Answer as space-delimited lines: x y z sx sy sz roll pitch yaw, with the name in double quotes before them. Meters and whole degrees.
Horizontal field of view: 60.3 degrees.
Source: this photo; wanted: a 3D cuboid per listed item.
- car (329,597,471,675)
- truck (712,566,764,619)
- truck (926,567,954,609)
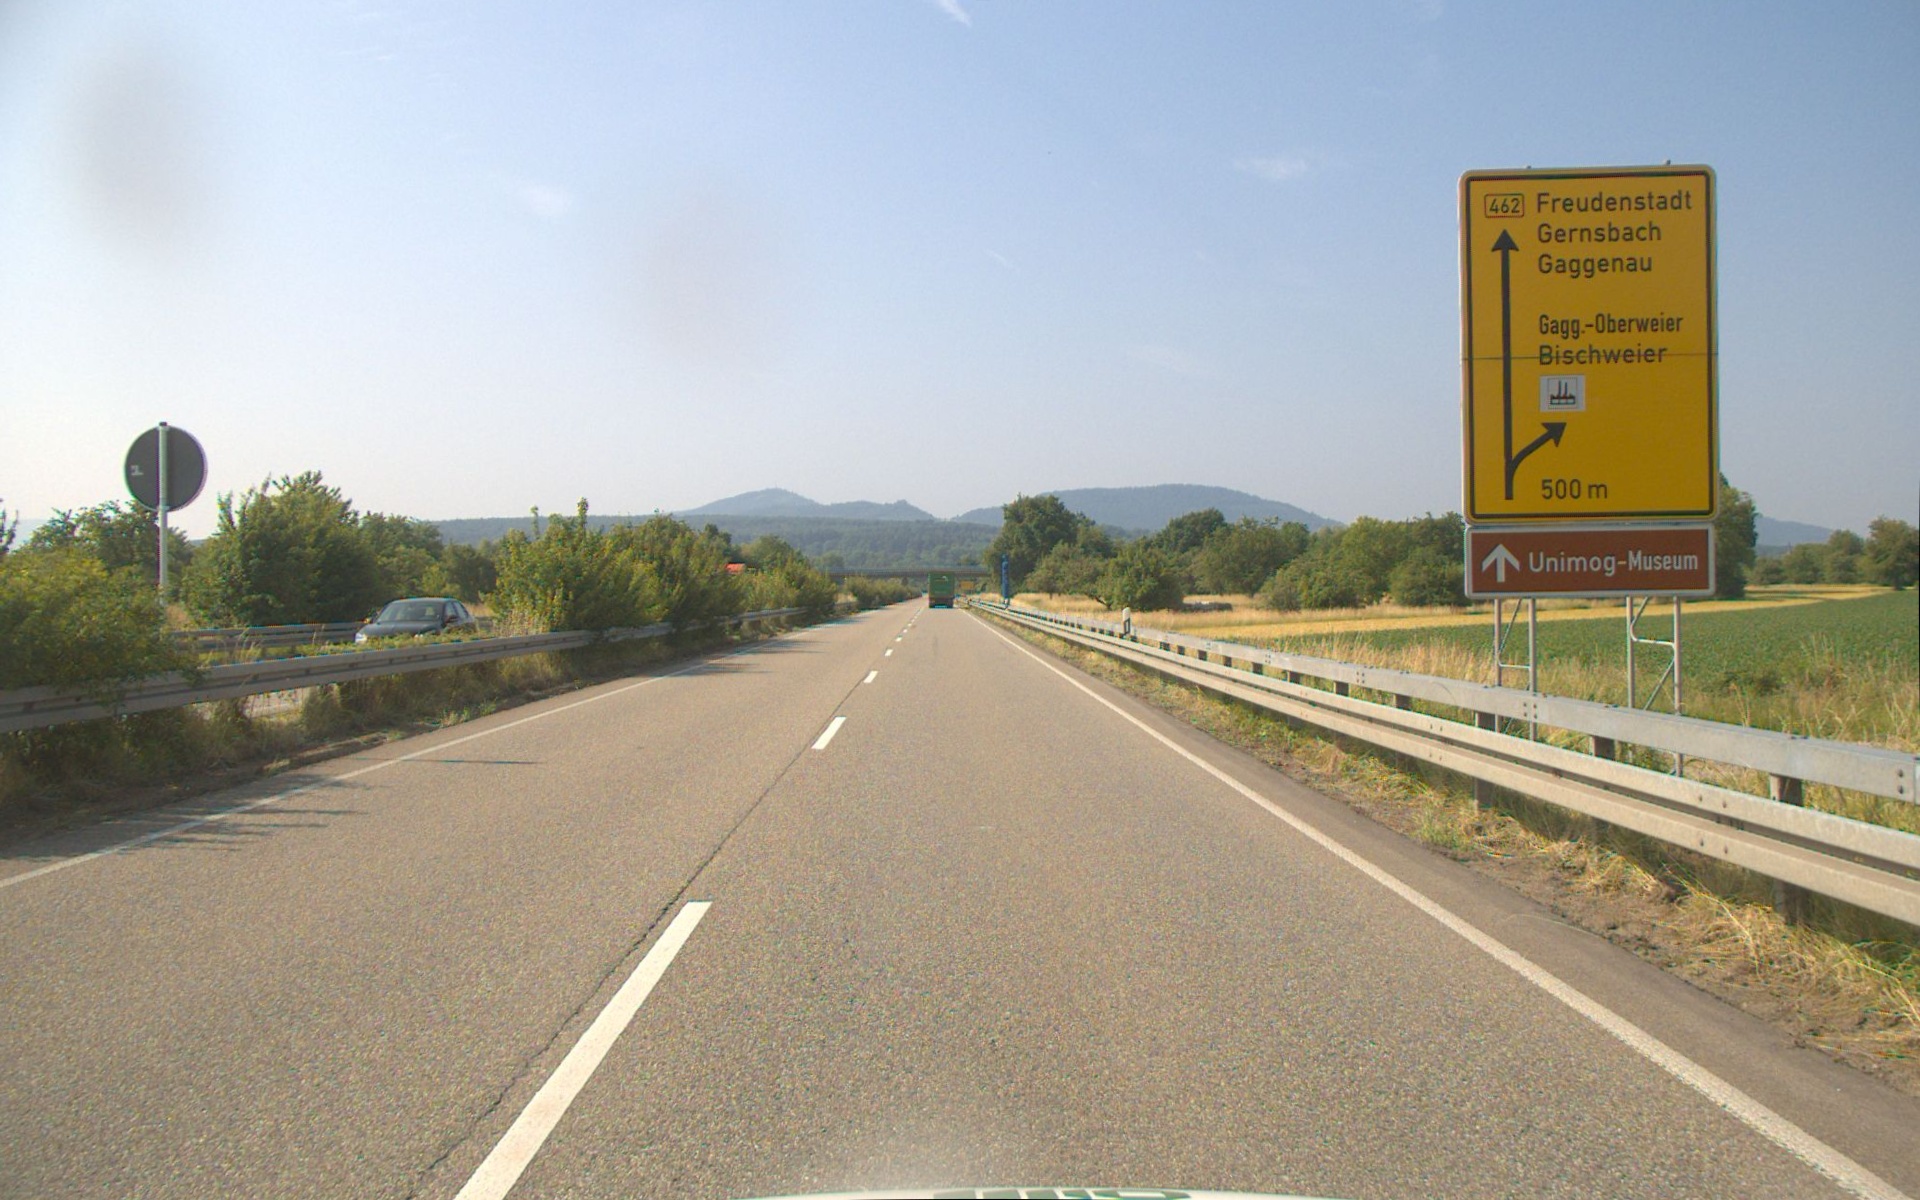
"car" -11.227 0.676 33.423 1.526 1.456 4.036 -1 0 -1
"truck" -15.992 -0.519 119.924 2.550 3.651 10.383 0 0 -1
"truck" -2.002 -1.315 167.916 2.667 4.034 10.415 1 1 -1
